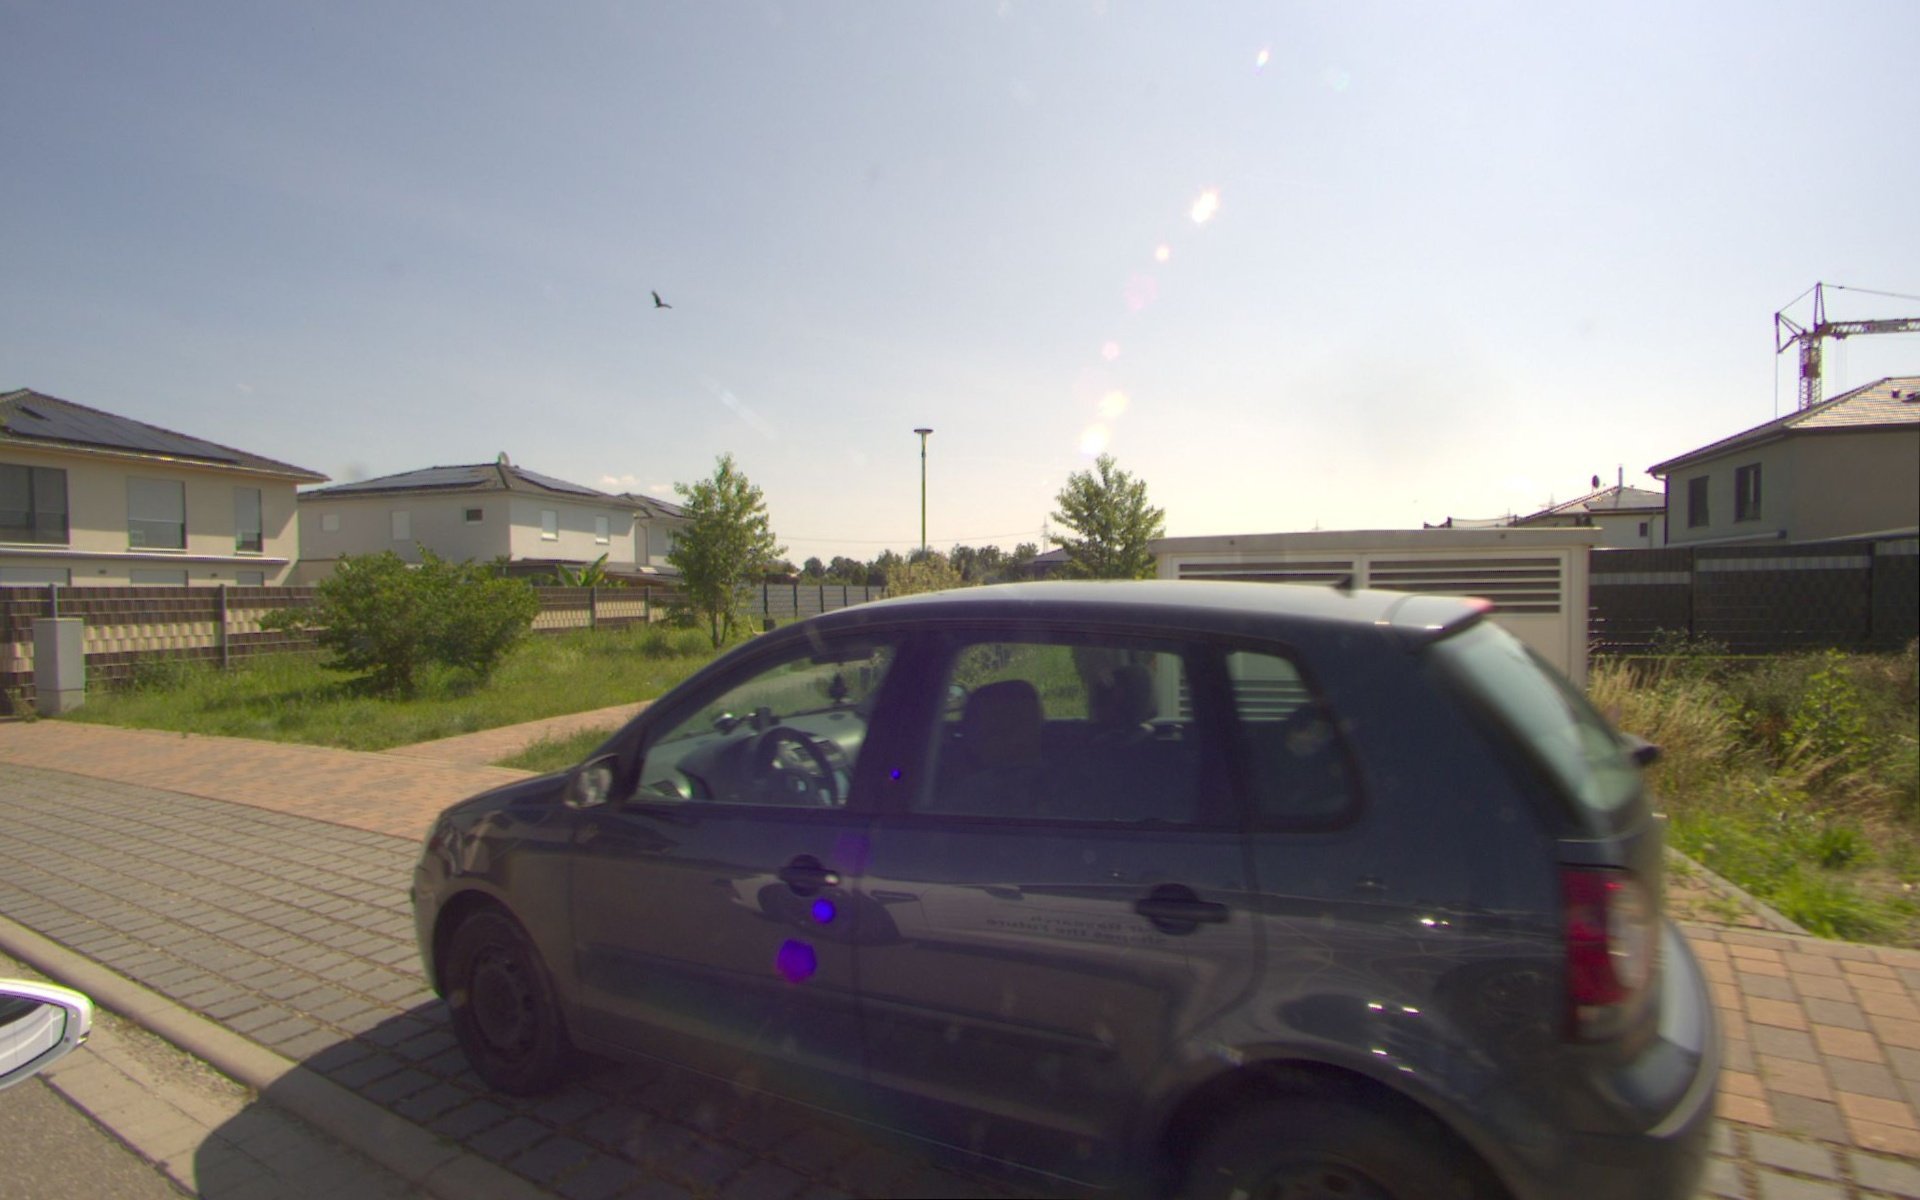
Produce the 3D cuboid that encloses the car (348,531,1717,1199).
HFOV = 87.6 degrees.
[{"bbox_3d":[-0.079,0.674,3.025,3.622,1.494,1.595,0,-1,32],"label":"car"}]
